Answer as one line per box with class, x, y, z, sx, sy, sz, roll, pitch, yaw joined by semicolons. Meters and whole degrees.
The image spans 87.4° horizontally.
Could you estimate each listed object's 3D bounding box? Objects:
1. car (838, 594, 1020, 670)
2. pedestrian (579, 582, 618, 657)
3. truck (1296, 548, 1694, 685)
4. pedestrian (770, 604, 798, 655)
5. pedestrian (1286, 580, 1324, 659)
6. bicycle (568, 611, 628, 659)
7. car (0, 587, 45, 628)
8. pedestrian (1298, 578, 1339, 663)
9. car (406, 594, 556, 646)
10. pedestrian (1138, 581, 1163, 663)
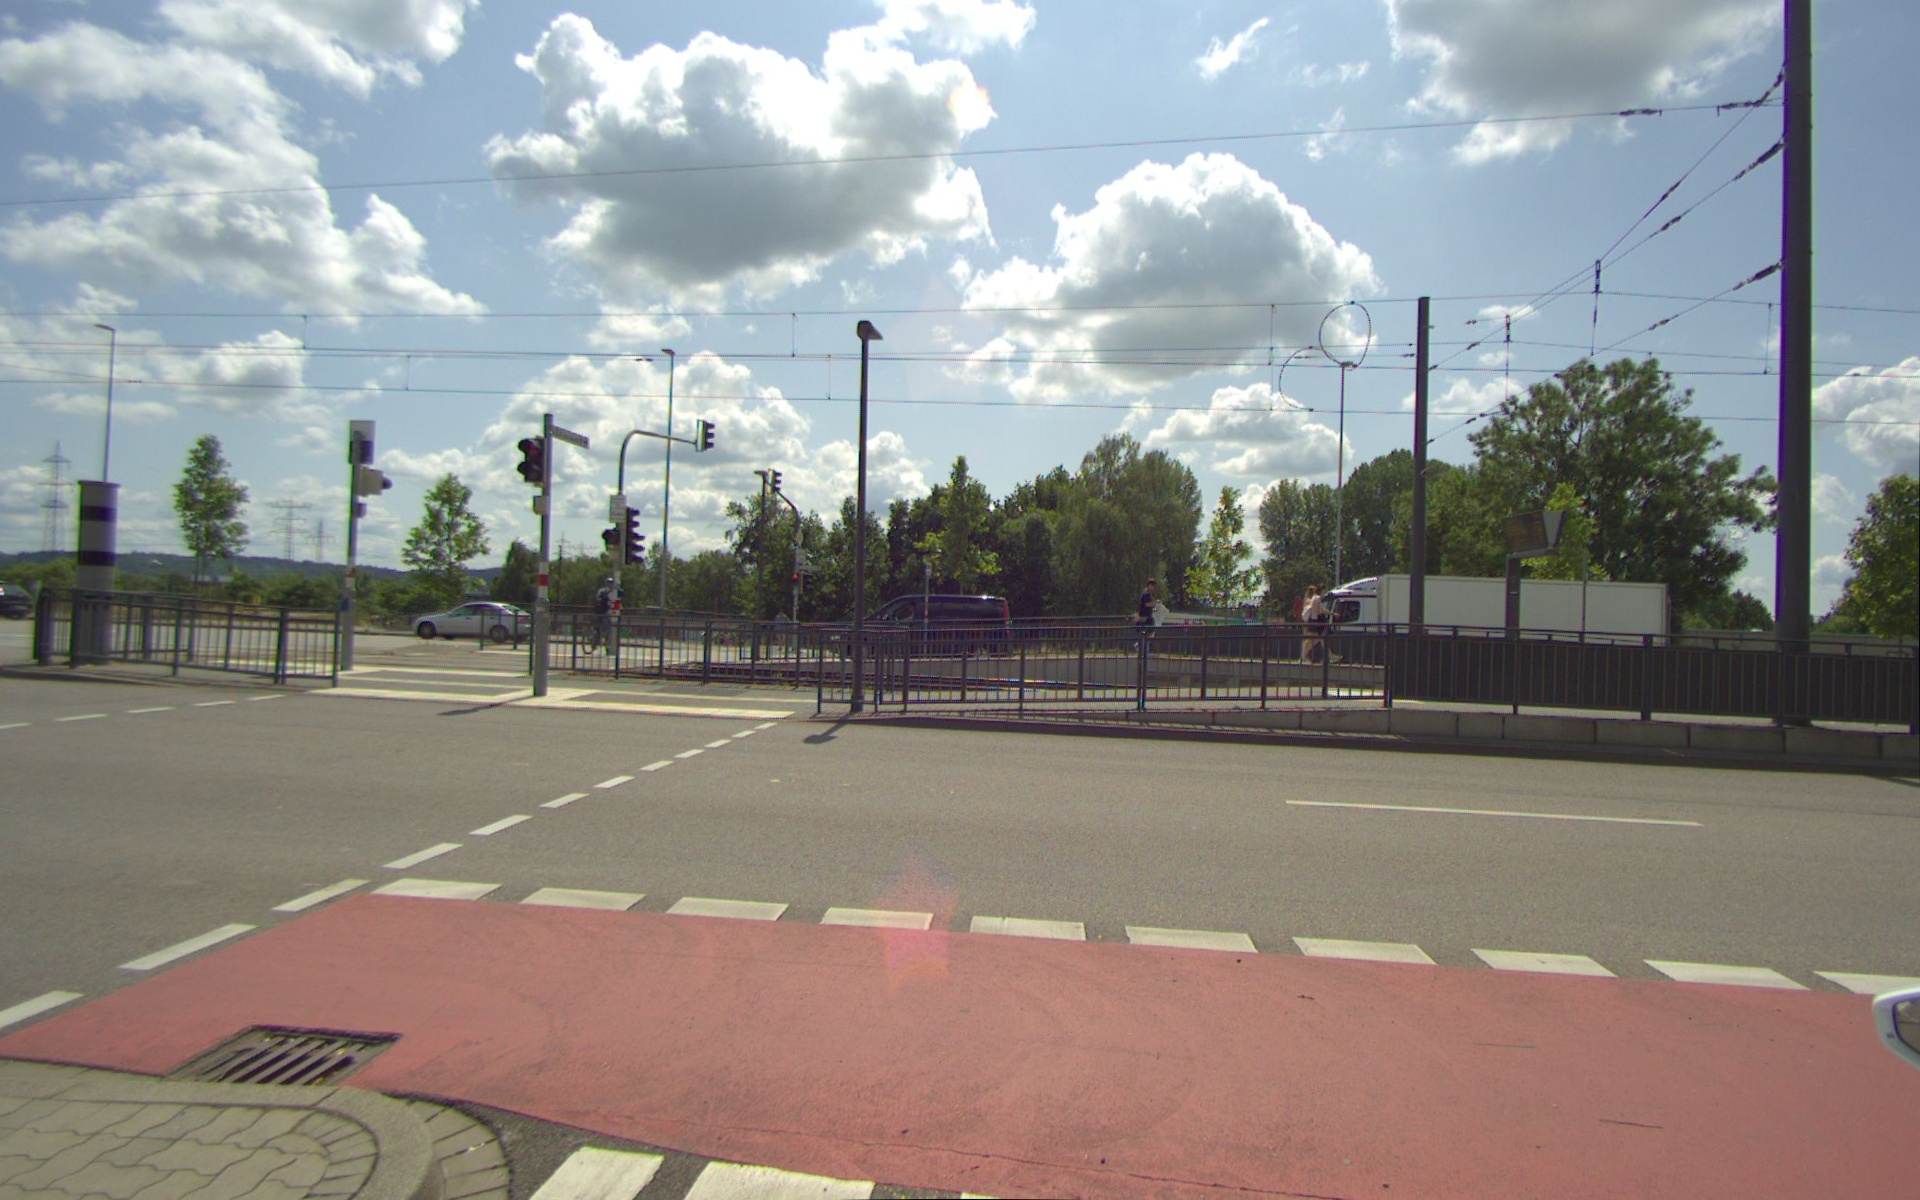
car;-0.752;0.834;26.717;4.572;1.844;2.001;1;-1;6
pedestrian;-8.785;0.477;24.438;0.600;1.792;0.673;2;0;8
truck;18.020;0.512;34.624;11.754;4.159;2.954;2;0;7
pedestrian;-7.173;1.182;41.007;0.965;2.040;0.902;1;0;-2
pedestrian;7.724;0.439;22.512;0.694;1.744;0.601;1;0;9
bicycle;-8.794;0.842;24.471;0.608;1.102;1.723;2;-1;8
car;-35.725;0.212;36.229;3.816;1.427;1.670;2;0;-1
pedestrian;7.708;0.433;21.635;0.664;1.772;0.637;2;1;9
car;-17.645;0.744;37.145;4.574;1.797;1.885;1;-1;0
pedestrian;4.153;0.481;21.915;0.514;1.744;0.730;1;0;10
